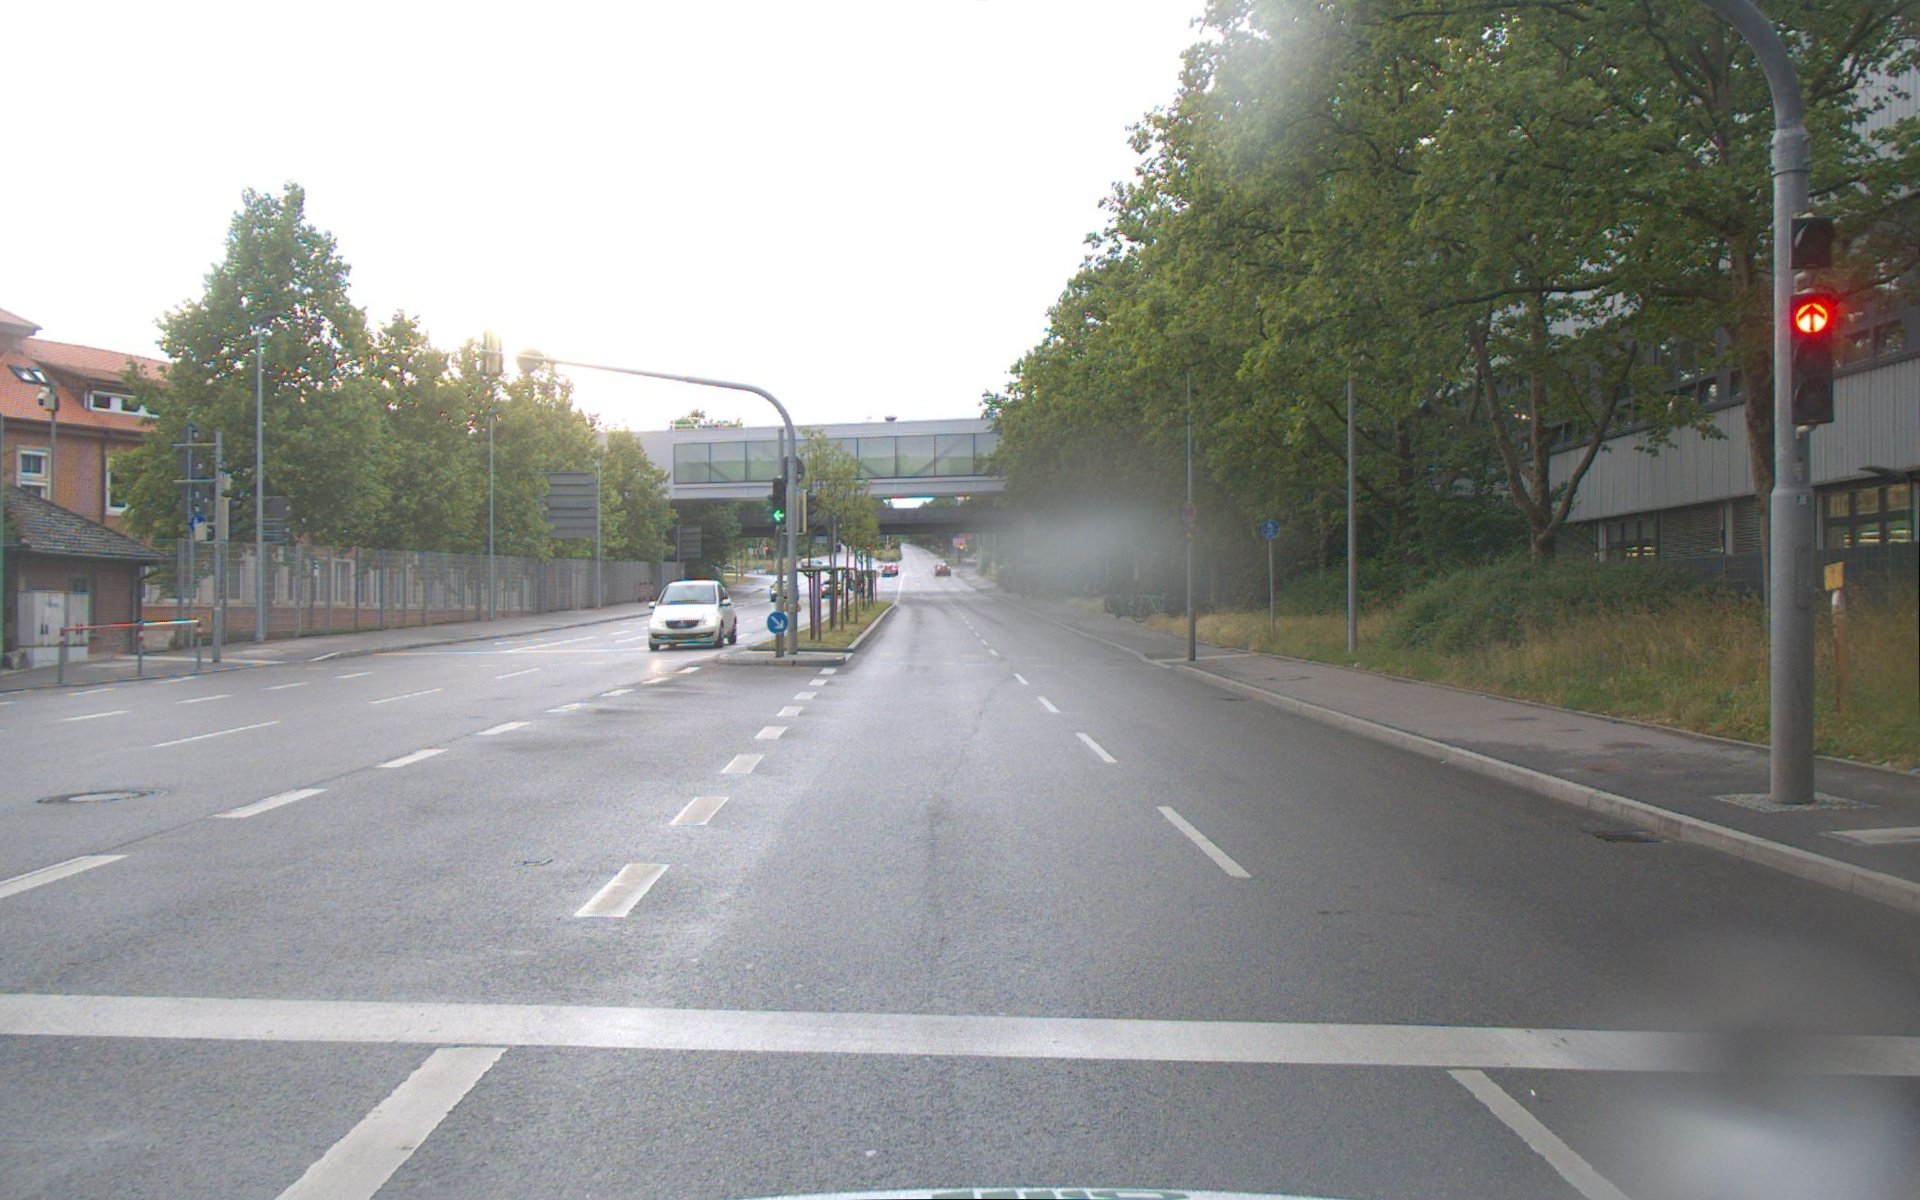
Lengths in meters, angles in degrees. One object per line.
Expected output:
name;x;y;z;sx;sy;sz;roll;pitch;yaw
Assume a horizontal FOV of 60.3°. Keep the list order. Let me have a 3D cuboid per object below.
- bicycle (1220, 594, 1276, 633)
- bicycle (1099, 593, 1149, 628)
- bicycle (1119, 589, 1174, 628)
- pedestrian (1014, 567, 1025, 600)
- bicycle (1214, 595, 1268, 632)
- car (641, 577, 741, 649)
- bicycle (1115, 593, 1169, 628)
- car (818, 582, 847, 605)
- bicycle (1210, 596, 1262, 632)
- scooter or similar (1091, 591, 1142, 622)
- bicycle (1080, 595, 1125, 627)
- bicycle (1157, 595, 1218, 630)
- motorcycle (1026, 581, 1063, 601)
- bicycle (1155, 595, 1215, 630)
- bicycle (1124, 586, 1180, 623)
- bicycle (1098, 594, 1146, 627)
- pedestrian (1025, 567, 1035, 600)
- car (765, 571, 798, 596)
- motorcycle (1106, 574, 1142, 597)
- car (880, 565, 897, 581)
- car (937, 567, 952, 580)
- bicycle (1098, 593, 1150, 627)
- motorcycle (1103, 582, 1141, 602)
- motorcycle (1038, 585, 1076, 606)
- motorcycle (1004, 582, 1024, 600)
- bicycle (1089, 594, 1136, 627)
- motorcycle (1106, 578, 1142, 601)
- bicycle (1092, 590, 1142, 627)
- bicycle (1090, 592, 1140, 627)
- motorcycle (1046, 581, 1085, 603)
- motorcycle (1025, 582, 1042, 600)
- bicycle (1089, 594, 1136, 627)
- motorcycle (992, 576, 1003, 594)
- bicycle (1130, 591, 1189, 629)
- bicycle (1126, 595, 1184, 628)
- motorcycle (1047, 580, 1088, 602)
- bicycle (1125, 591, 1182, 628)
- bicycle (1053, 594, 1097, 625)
bicycle;10.724;0.501;61.668;1.950;1.352;0.576;2;-1;0
bicycle;6.804;0.436;68.588;1.950;1.352;0.576;2;-1;0
bicycle;6.981;0.324;61.920;1.950;1.364;0.541;2;-1;0
pedestrian;3.728;-1.049;104.208;0.609;2.049;0.605;-1;0;-1
bicycle;10.864;0.533;63.858;1.950;1.352;0.576;2;-1;0
car;-6.492;0.294;40.290;1.839;1.653;3.778;-1;0;-1
bicycle;6.876;0.396;62.610;1.950;1.263;0.541;2;-1;0
car;-9.311;-0.480;121.341;1.839;1.653;3.778;-1;0;-1
bicycle;10.860;0.549;65.105;1.950;1.352;0.576;2;-1;0
scooter or similar;6.211;0.256;65.704;1.950;1.157;0.541;2;-1;0
bicycle;6.418;0.482;74.411;1.923;1.352;0.654;2;-1;0
bicycle;7.651;0.414;55.634;1.950;1.114;0.541;2;-1;0
motorcycle;5.502;-0.576;107.851;2.318;1.223;0.723;-1;0;7
bicycle;7.645;0.421;56.203;1.950;1.114;0.541;2;-1;0
bicycle;7.014;0.169;60.526;1.950;1.263;0.541;2;-1;0
bicycle;6.860;0.446;70.178;1.950;1.352;0.576;2;-1;0
pedestrian;4.399;-1.047;103.919;0.609;2.049;0.605;-1;0;-1
car;-12.208;-1.106;113.432;1.839;1.653;3.778;-1;0;-1
motorcycle;10.901;-0.944;110.105;2.318;1.502;0.723;-1;0;7
car;-9.033;-3.408;208.231;1.953;1.792;3.999;2;-1;-1
car;-1.918;-3.263;204.596;1.837;1.523;4.067;2;-1;-1
bicycle;6.450;0.409;64.927;1.950;1.263;0.541;2;-1;0
motorcycle;10.004;-0.487;102.047;2.318;1.223;0.723;-1;0;7
motorcycle;6.036;-0.287;103.300;2.318;1.223;0.723;-1;0;7
motorcycle;4.143;-0.711;127.270;0.778;1.334;2.364;-1;0;-19
bicycle;6.529;0.454;70.884;1.950;1.352;0.576;2;-1;0
motorcycle;10.817;-0.684;108.869;2.318;1.502;0.723;-1;0;7
bicycle;6.578;0.373;69.320;1.950;1.455;0.723;2;-1;0
bicycle;6.333;0.406;67.640;1.950;1.352;0.576;2;-1;0
motorcycle;6.309;-0.477;98.946;2.318;1.223;0.723;-1;0;7
motorcycle;5.436;-0.667;122.192;0.775;1.334;2.371;-1;0;-9
bicycle;6.650;0.462;72.123;1.920;1.352;0.576;2;-1;0
motorcycle;3.293;-1.327;146.375;0.774;1.560;2.375;-1;0;-2
bicycle;6.958;0.351;57.653;1.950;1.237;0.541;2;-1;0
bicycle;6.983;0.408;59.260;1.950;1.114;0.541;2;-1;0
motorcycle;6.288;-0.520;96.831;2.318;1.223;0.723;-1;0;7
bicycle;6.994;0.349;59.843;1.950;1.255;0.541;2;-1;0
bicycle;5.303;0.460;76.122;1.923;1.352;0.654;2;-1;0
